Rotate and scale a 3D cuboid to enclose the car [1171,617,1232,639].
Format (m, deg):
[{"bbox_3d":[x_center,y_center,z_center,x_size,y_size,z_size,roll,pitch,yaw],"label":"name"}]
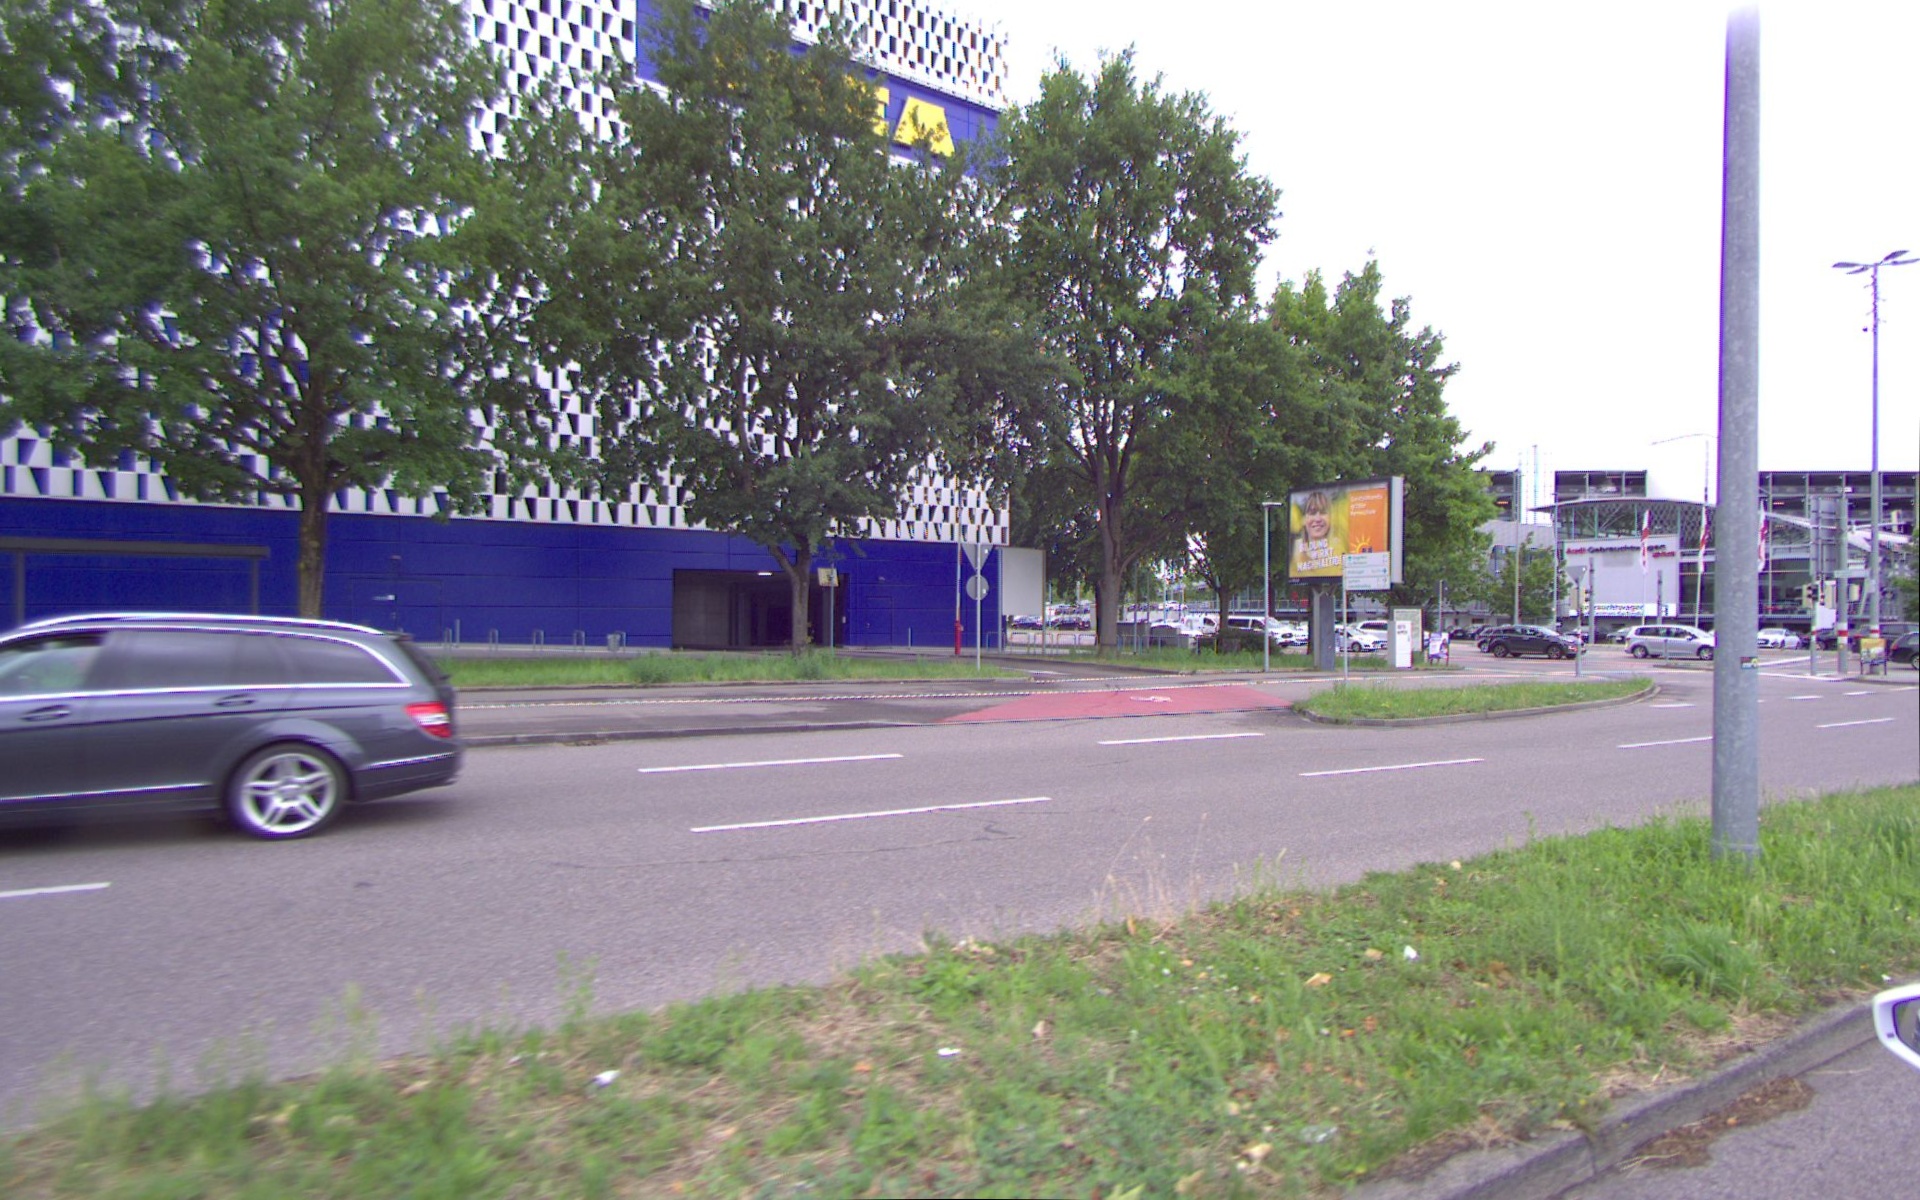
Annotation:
[{"bbox_3d":[17.719,2.010,73.905,1.973,1.524,4.201,0,0,-34],"label":"car"}]

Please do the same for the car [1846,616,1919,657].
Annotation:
[{"bbox_3d":[41.713,1.586,43.798,1.983,1.666,4.367,-1,1,-39],"label":"car"}]

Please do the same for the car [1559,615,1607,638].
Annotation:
[{"bbox_3d":[44.888,1.880,72.357,3.495,1.505,1.590,-1,1,-31],"label":"car"}]

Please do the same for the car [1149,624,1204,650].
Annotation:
[{"bbox_3d":[15.413,2.594,71.555,1.711,1.674,3.838,-1,0,-30],"label":"car"}]

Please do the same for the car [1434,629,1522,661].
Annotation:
[{"bbox_3d":[29.213,2.578,56.732,1.980,1.683,3.962,-1,-3,-35],"label":"car"}]

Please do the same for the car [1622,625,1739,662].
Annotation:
[{"bbox_3d":[34.456,2.042,48.124,1.981,1.529,4.218,-1,0,-37],"label":"car"}]

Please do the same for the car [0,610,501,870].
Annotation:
[{"bbox_3d":[-5.623,0.845,6.776,4.476,1.499,1.784,1,-3,-29],"label":"car"}]

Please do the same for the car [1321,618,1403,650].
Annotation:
[{"bbox_3d":[25.031,2.097,62.640,1.980,1.734,4.403,-3,2,-35],"label":"car"}]

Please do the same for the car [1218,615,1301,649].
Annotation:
[{"bbox_3d":[19.438,2.041,65.375,1.860,1.990,5.100,-3,2,-34],"label":"car"}]

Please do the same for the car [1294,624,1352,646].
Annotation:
[{"bbox_3d":[28.358,2.697,78.553,1.744,1.589,3.913,-1,1,-37],"label":"car"}]

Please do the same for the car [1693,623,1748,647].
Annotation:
[{"bbox_3d":[49.491,2.247,65.400,3.495,1.419,1.710,-1,1,-31],"label":"car"}]

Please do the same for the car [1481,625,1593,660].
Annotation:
[{"bbox_3d":[28.967,2.097,50.538,1.981,1.682,4.511,0,-1,-37],"label":"car"}]

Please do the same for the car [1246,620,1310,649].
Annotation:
[{"bbox_3d":[21.254,2.298,67.207,1.861,1.770,3.737,-1,1,-34],"label":"car"}]

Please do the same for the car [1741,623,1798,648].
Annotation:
[{"bbox_3d":[50.905,2.218,63.163,3.495,1.419,1.710,-1,1,-31],"label":"car"}]

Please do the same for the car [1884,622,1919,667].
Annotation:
[{"bbox_3d":[37.792,1.719,37.643,1.981,1.682,4.384,1,0,-37],"label":"car"}]

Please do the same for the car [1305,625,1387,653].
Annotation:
[{"bbox_3d":[23.025,2.313,60.042,1.973,1.532,4.201,0,0,-34],"label":"car"}]
